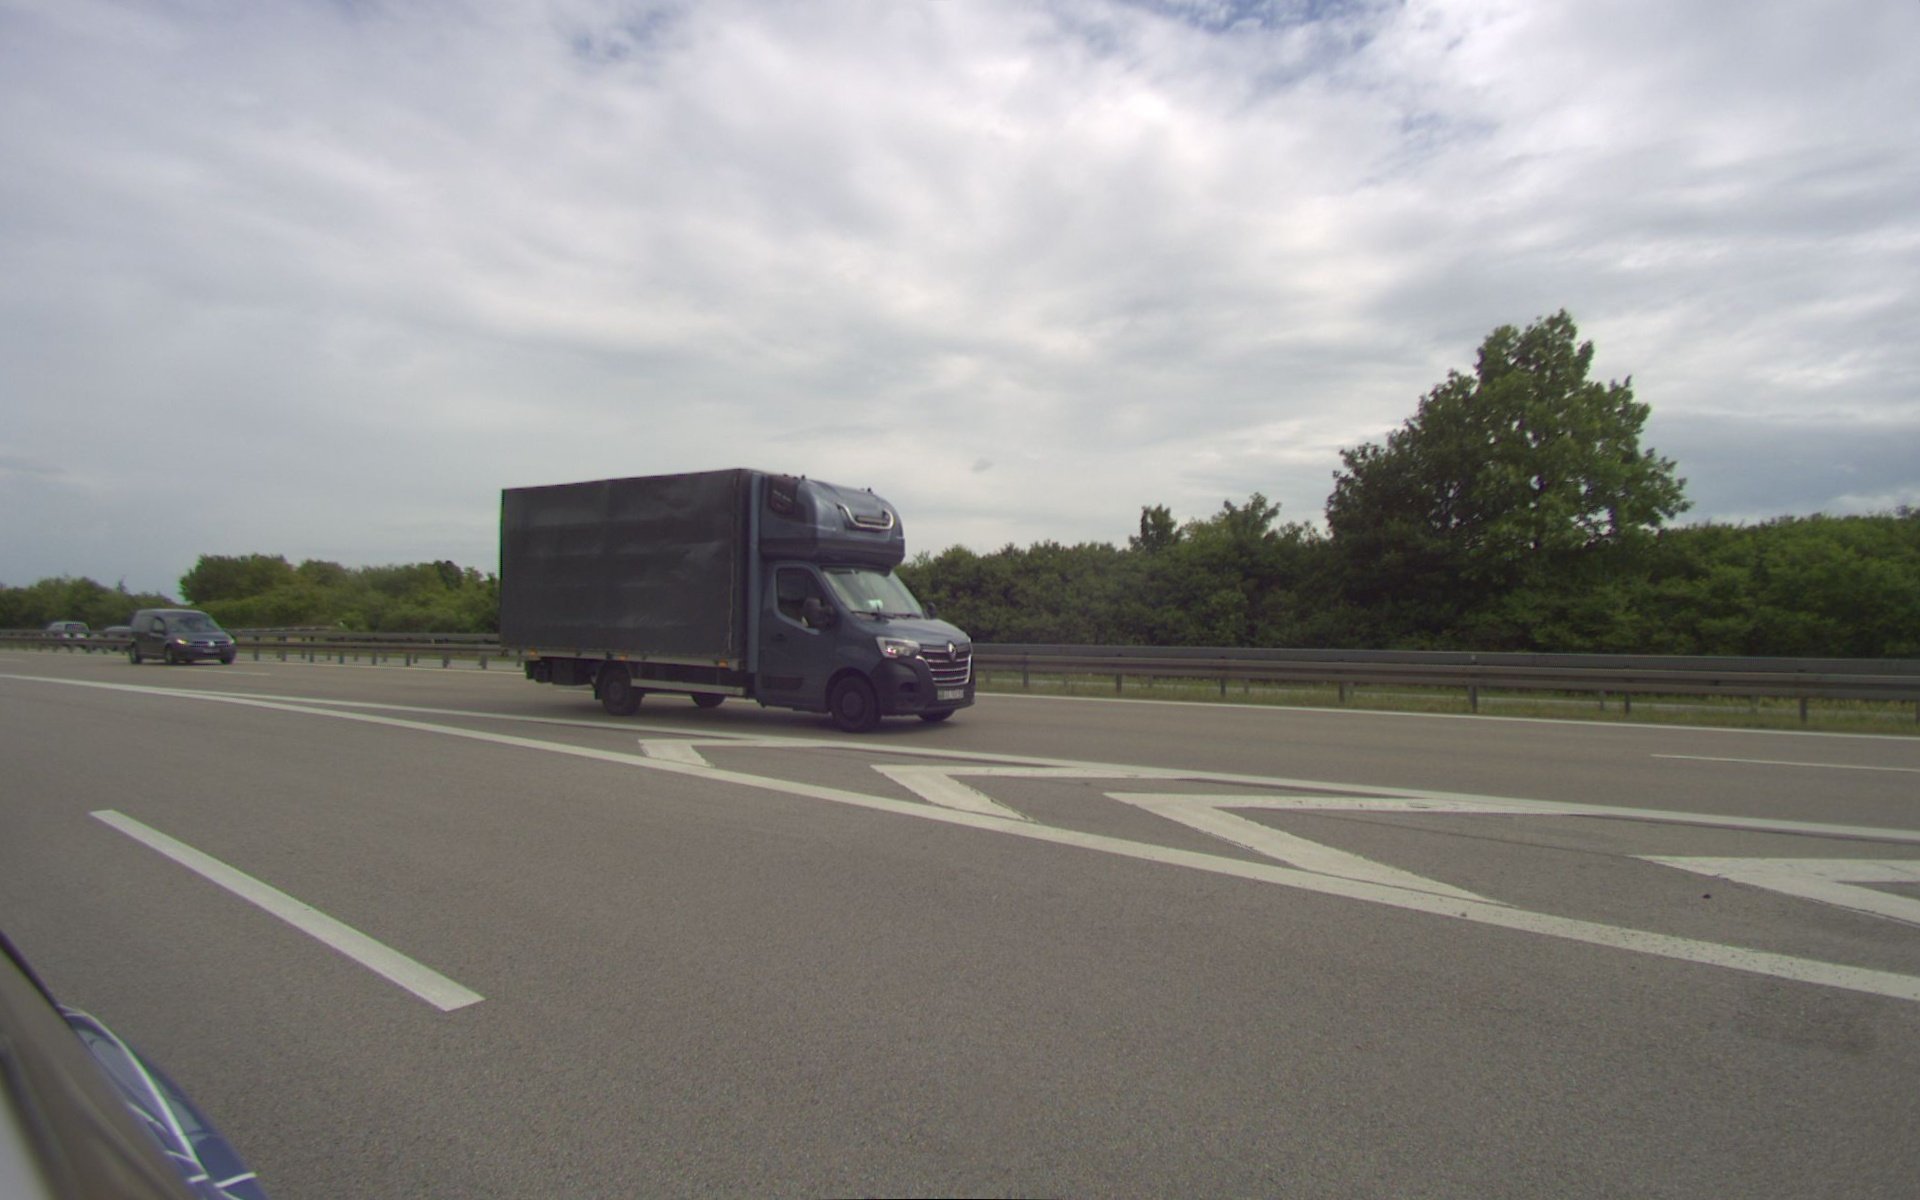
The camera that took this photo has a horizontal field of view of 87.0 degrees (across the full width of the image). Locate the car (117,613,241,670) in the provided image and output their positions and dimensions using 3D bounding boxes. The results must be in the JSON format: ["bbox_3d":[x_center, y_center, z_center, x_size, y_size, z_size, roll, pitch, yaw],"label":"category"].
[{"bbox_3d":[-25.665,1.325,33.235,4.322,1.772,1.831,-1,-2,32],"label":"car"}]

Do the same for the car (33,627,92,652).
[{"bbox_3d":[-62.272,2.695,70.209,3.987,1.663,1.978,-1,-2,32],"label":"car"}]

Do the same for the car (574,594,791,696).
[{"bbox_3d":[-5.500,0.864,19.975,3.988,1.824,1.978,-1,-2,33],"label":"car"}]

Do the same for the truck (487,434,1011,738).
[{"bbox_3d":[-3.307,-0.043,14.477,7.899,3.397,2.448,-2,-2,33],"label":"truck"}]
